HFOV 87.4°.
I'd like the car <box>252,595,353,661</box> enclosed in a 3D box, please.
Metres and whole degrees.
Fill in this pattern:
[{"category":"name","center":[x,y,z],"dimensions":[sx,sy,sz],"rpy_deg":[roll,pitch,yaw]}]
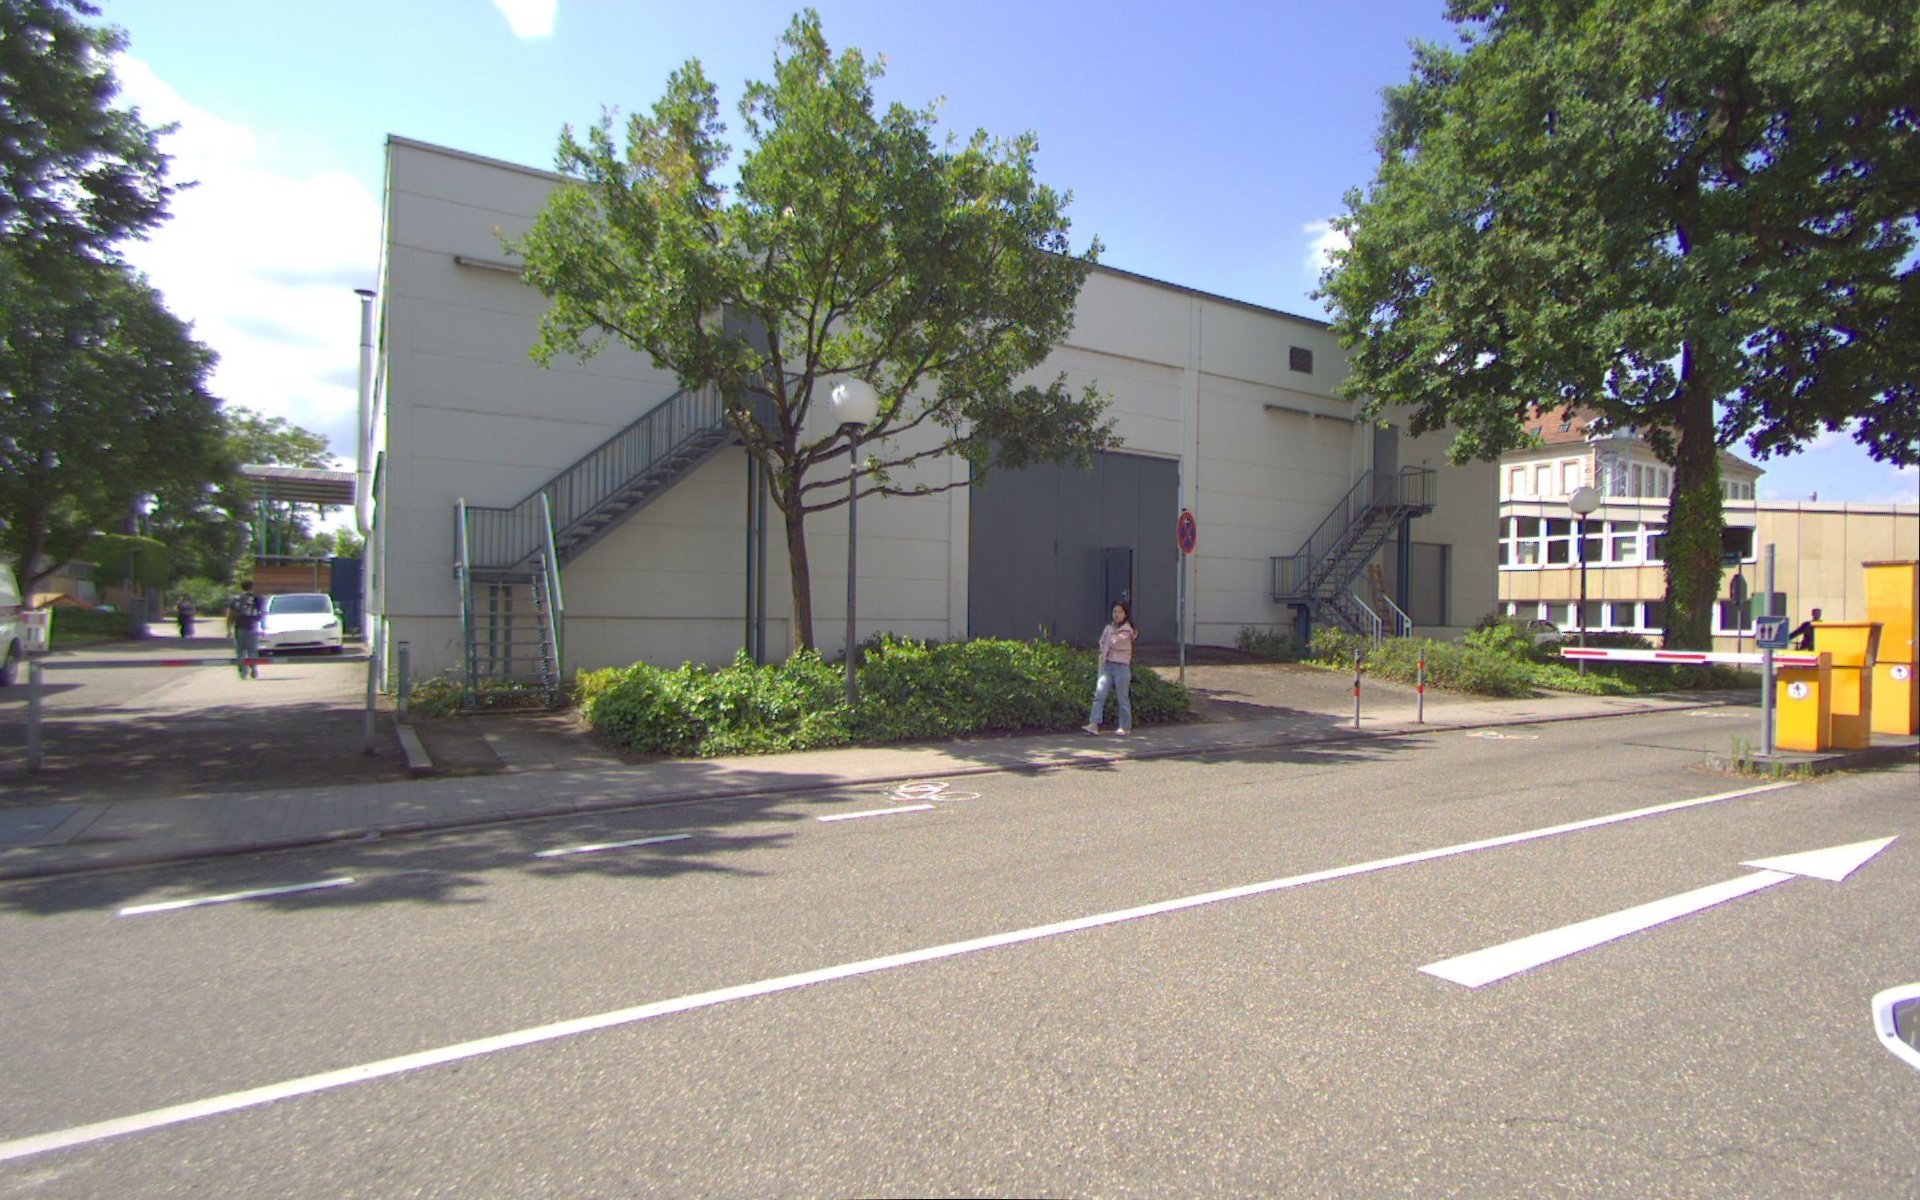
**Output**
[{"category":"car","center":[-18.226,0.707,28.047],"dimensions":[1.976,1.676,4.899],"rpy_deg":[0,0,-29]}]

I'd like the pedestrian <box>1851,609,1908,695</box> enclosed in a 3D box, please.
[{"category":"pedestrian","center":[20.028,1.109,21.881],"dimensions":[0.991,1.833,0.701],"rpy_deg":[0,0,-33]}]

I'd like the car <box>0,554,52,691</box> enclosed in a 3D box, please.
[{"category":"car","center":[-14.913,0.302,14.194],"dimensions":[1.976,2.012,4.898],"rpy_deg":[2,-1,-29]}]

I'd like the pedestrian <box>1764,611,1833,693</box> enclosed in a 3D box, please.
[{"category":"pedestrian","center":[19.235,1.163,23.051],"dimensions":[0.797,1.840,1.050],"rpy_deg":[0,0,-33]}]

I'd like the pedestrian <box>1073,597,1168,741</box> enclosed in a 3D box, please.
[{"category":"pedestrian","center":[1.929,0.798,12.072],"dimensions":[0.874,1.648,0.709],"rpy_deg":[1,0,-33]}]

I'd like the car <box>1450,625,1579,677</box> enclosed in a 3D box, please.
[{"category":"car","center":[17.568,1.573,31.780],"dimensions":[4.253,1.486,1.818],"rpy_deg":[1,-1,-33]}]

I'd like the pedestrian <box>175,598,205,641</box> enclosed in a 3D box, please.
[{"category":"pedestrian","center":[-28.240,0.719,36.850],"dimensions":[0.763,1.566,0.821],"rpy_deg":[0,0,-29]}]

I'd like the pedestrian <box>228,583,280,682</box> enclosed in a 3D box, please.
[{"category":"pedestrian","center":[-12.282,0.550,17.486],"dimensions":[0.658,1.670,0.762],"rpy_deg":[0,0,-29]}]
